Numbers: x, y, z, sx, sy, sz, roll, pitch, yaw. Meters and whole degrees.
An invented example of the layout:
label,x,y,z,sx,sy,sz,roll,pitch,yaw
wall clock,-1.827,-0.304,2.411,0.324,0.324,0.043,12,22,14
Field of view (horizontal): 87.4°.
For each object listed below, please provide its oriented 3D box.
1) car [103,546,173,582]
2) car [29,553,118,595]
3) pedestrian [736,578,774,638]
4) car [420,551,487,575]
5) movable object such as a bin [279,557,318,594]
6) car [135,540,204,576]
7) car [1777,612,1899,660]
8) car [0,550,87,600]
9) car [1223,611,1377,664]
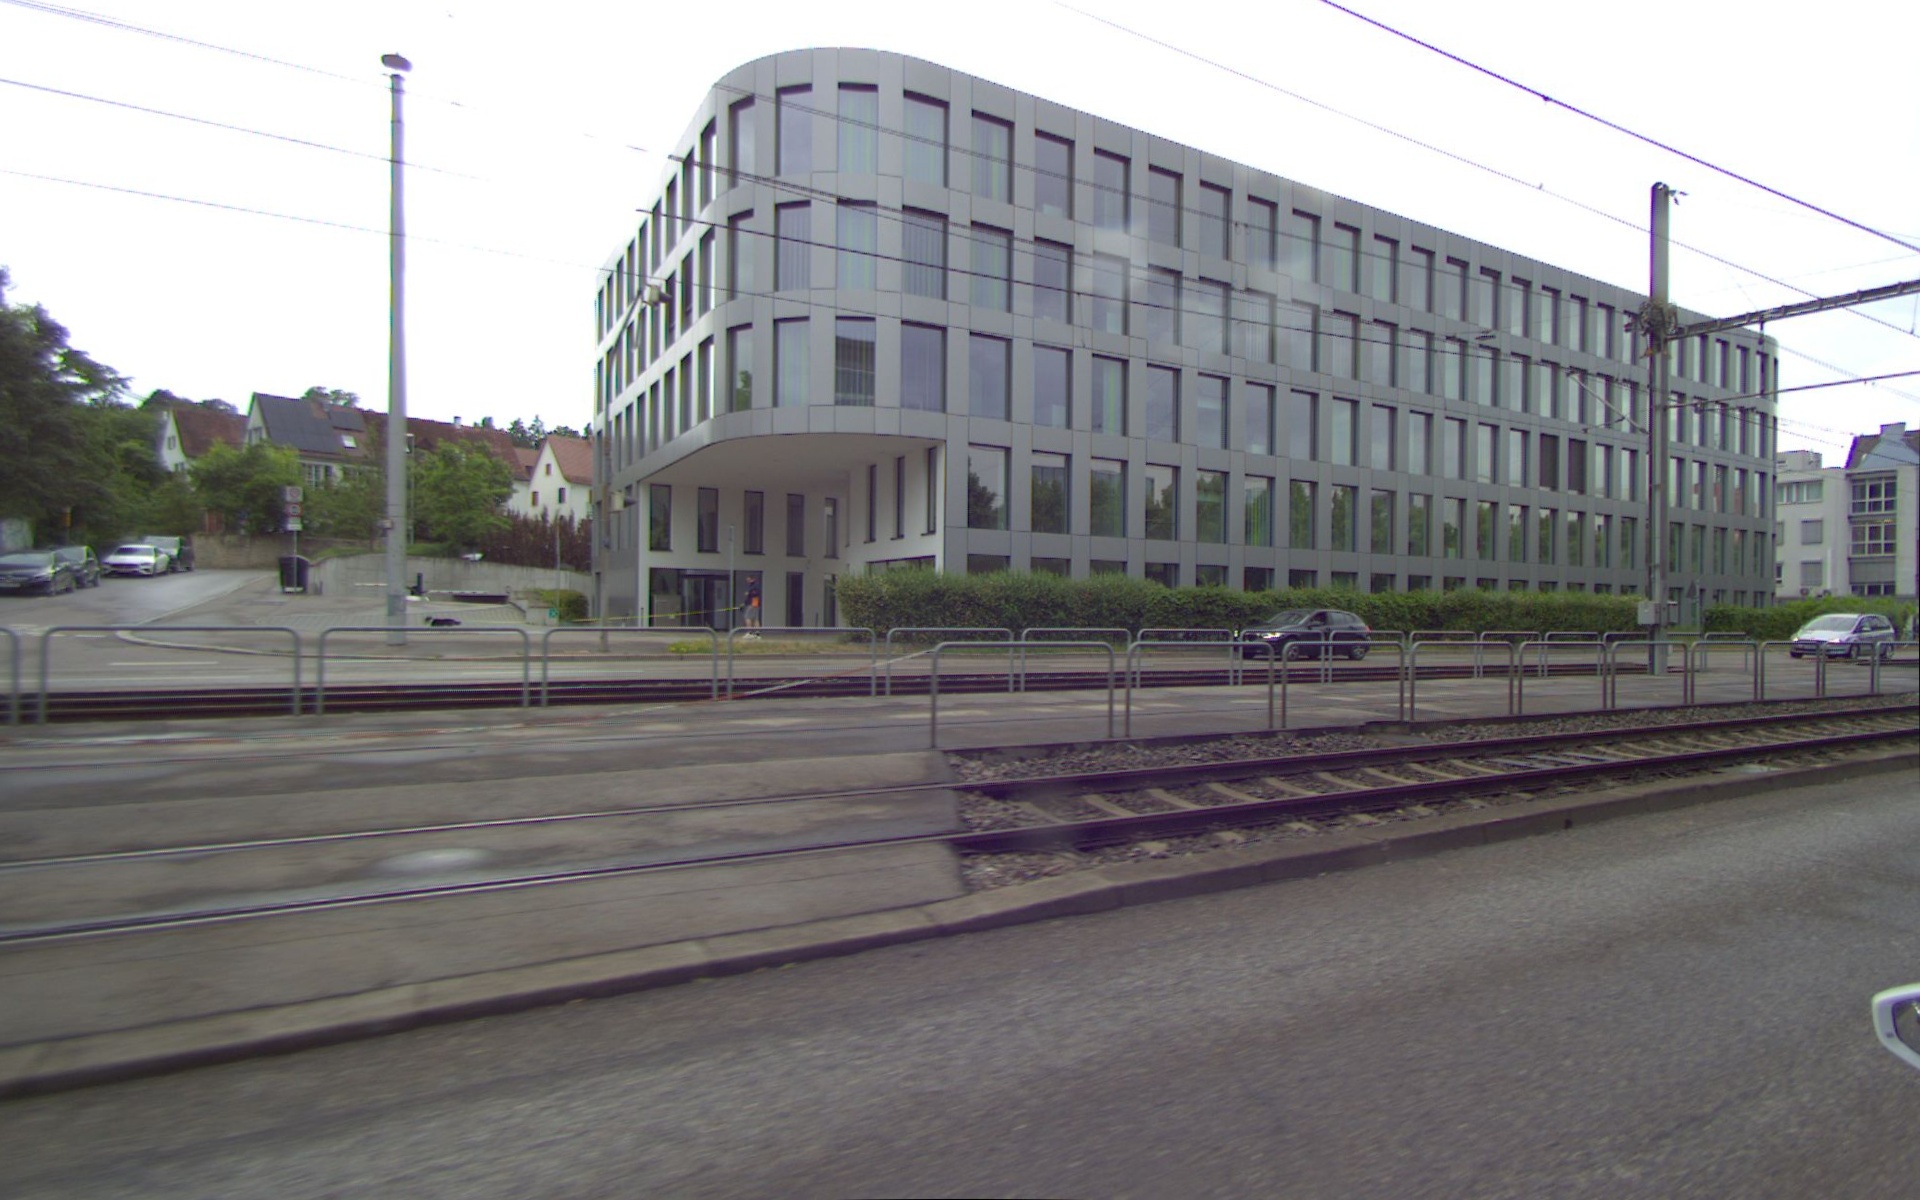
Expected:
label,x,y,z,sx,sy,sz,roll,pitch,yaw
car,-38.109,-1.686,46.687,1.924,1.494,4.233,1,2,-31
car,-33.650,-1.008,38.245,1.852,1.429,4.052,1,2,-31
pedestrian,-5.768,0.224,28.205,0.835,1.670,0.720,1,1,-29
car,-35.583,-2.610,70.696,1.862,1.512,3.872,2,1,26
movable object such as a bin,-26.982,-0.997,40.964,1.261,1.414,1.258,1,3,-37
car,-40.700,-2.193,51.809,1.920,1.683,4.126,1,2,-26
car,32.679,1.336,37.353,4.824,1.666,1.894,1,0,-29
car,-30.490,-0.853,33.164,1.852,1.472,4.052,1,2,-31
car,9.567,1.026,28.208,4.209,1.365,1.789,1,-1,-30
